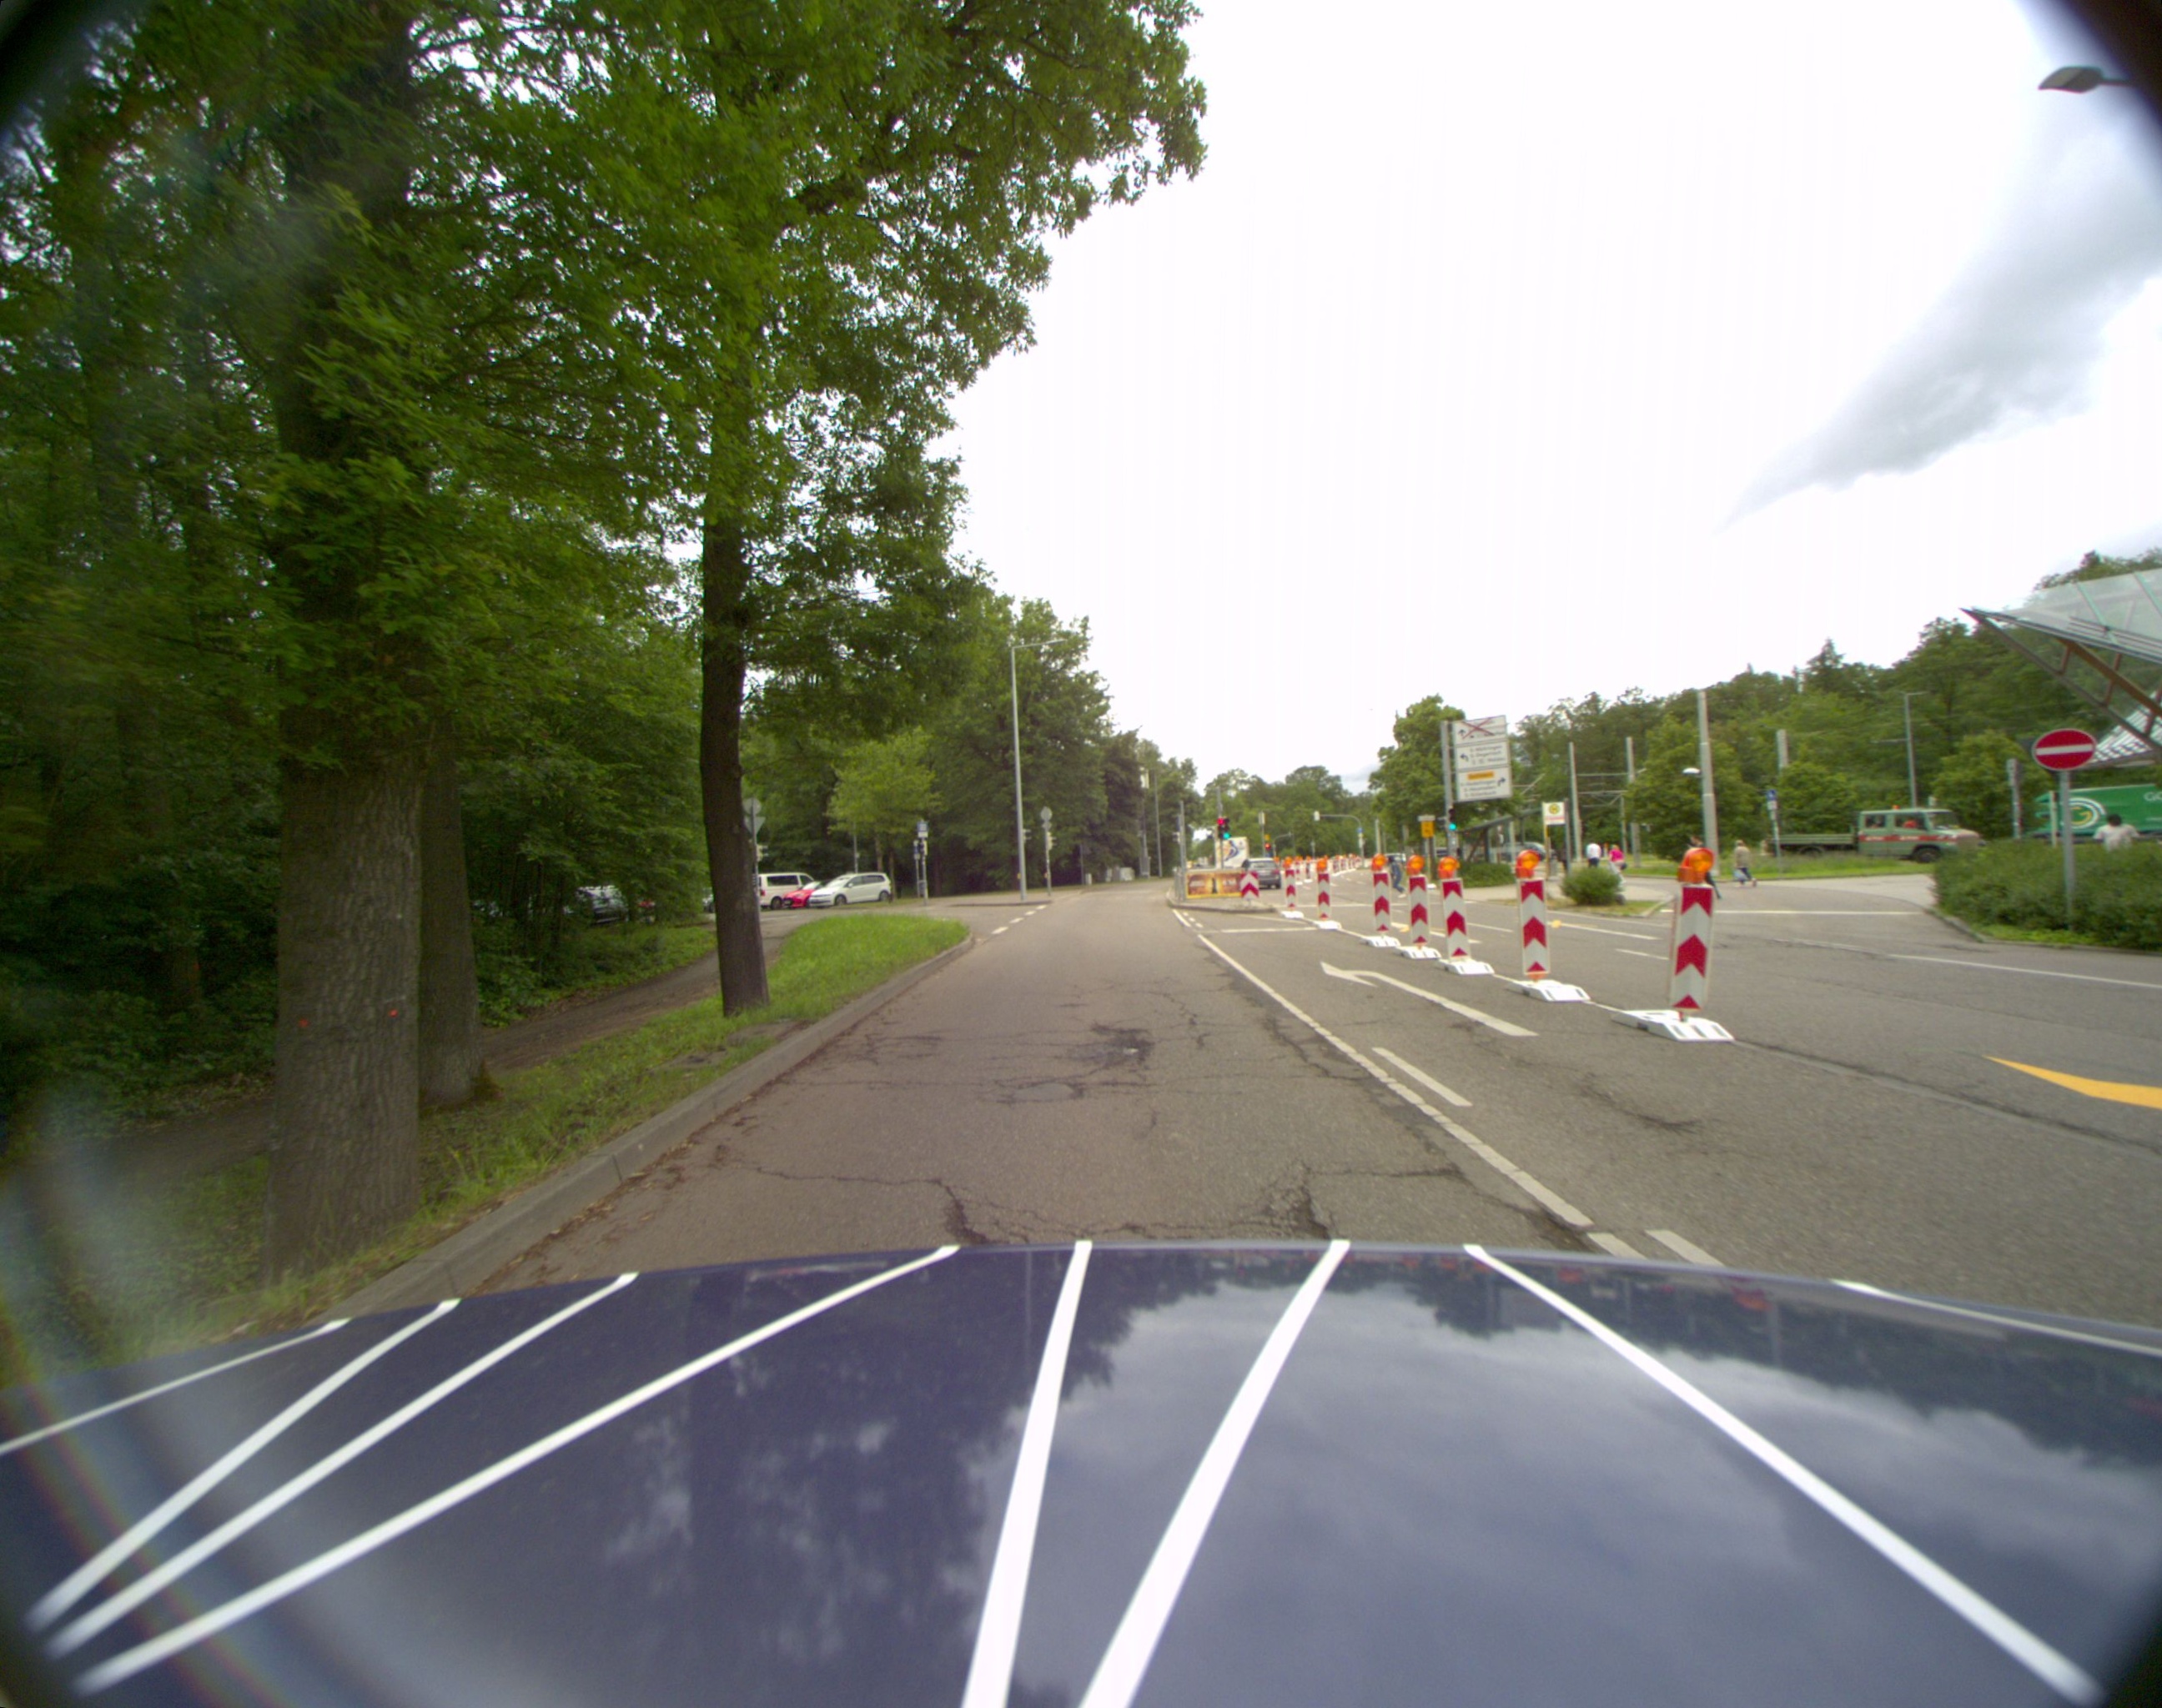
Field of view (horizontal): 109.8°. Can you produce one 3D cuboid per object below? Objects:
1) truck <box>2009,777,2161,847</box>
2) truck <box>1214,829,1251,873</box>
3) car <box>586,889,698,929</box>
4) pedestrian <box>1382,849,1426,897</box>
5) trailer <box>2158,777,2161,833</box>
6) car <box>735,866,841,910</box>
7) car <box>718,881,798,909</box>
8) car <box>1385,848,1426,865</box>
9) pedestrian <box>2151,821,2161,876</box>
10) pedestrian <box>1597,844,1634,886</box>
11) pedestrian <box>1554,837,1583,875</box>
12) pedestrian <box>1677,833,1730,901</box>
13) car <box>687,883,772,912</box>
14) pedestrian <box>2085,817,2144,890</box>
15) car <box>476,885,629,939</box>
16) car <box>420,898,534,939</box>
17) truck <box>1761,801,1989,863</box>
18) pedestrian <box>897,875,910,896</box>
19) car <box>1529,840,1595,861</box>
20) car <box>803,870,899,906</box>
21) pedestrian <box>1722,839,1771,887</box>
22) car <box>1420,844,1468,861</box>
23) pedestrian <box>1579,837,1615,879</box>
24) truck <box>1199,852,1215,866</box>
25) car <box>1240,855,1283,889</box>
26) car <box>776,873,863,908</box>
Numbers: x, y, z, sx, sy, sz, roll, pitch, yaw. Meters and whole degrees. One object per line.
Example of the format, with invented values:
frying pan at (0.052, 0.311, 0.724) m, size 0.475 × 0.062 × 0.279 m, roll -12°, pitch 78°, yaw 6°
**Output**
truck at (65.173, -2.686, 47.082) m, size 3.791 × 3.858 × 8.760 m, roll -4°, pitch -1°, yaw -20°
truck at (12.048, -0.237, 60.059) m, size 2.633 × 3.219 × 6.212 m, roll -1°, pitch 0°, yaw 12°
car at (-19.125, 2.368, 33.276) m, size 1.817 × 1.411 × 3.855 m, roll -4°, pitch -1°, yaw 22°
pedestrian at (11.612, 0.667, 27.349) m, size 1.094 × 1.666 × 0.910 m, roll -2°, pitch 0°, yaw -8°
trailer at (67.631, -2.993, 40.032) m, size 3.791 × 3.858 × 11.853 m, roll -4°, pitch -1°, yaw -19°
car at (-16.168, 1.848, 42.238) m, size 2.058 × 1.946 × 5.191 m, roll -4°, pitch 0°, yaw 29°
car at (-18.477, 2.319, 43.622) m, size 1.717 × 1.320 × 3.943 m, roll -4°, pitch -1°, yaw 27°
car at (37.148, 0.292, 87.108) m, size 1.900 × 1.630 × 3.976 m, roll -4°, pitch -1°, yaw -24°
pedestrian at (31.958, -0.191, 21.981) m, size 0.784 × 1.615 × 0.770 m, roll -4°, pitch -1°, yaw 6°
pedestrian at (20.740, 0.435, 29.502) m, size 0.792 × 1.542 × 0.775 m, roll -4°, pitch -1°, yaw -4°
pedestrian at (20.896, 0.076, 32.571) m, size 0.775 × 1.537 × 0.629 m, roll -4°, pitch 1°, yaw 12°
pedestrian at (17.216, 0.356, 21.054) m, size 0.992 × 1.798 × 0.768 m, roll -4°, pitch -1°, yaw 36°
car at (-20.552, 2.519, 44.563) m, size 1.815 × 1.317 × 4.136 m, roll -4°, pitch -1°, yaw 29°
pedestrian at (23.370, -0.008, 17.199) m, size 0.674 × 1.587 × 0.674 m, roll -3°, pitch -1°, yaw -40°
car at (-22.551, 2.421, 32.662) m, size 1.995 × 1.867 × 4.959 m, roll -4°, pitch -1°, yaw 28°
car at (-30.038, 3.175, 37.929) m, size 1.844 × 1.608 × 3.997 m, roll -4°, pitch -1°, yaw 24°
truck at (34.239, -0.866, 33.132) m, size 2.609 × 2.157 × 6.294 m, roll -4°, pitch -1°, yaw -19°
pedestrian at (-14.580, 2.593, 62.427) m, size 0.833 × 1.641 × 1.035 m, roll -4°, pitch -1°, yaw -4°
car at (45.769, -0.315, 72.388) m, size 1.961 × 1.578 × 4.899 m, roll -3°, pitch -1°, yaw -36°
car at (-11.867, 1.744, 39.403) m, size 1.995 × 1.542 × 4.429 m, roll -4°, pitch -1°, yaw 33°
pedestrian at (22.036, 0.314, 25.173) m, size 0.767 × 1.515 × 0.876 m, roll -4°, pitch -1°, yaw 2°
car at (44.022, -0.156, 92.162) m, size 2.003 × 1.805 × 4.824 m, roll -3°, pitch -1°, yaw -31°
pedestrian at (21.304, 0.174, 31.385) m, size 0.686 × 1.655 × 0.869 m, roll -4°, pitch -1°, yaw -15°
truck at (31.506, 1.162, 190.469) m, size 2.743 × 3.191 × 6.682 m, roll -4°, pitch -1°, yaw 18°
car at (9.061, 0.867, 38.428) m, size 1.811 × 1.500 × 4.311 m, roll -1°, pitch 0°, yaw 9°
car at (-13.978, 1.944, 40.788) m, size 1.890 × 1.542 × 4.007 m, roll -4°, pitch -1°, yaw 33°
